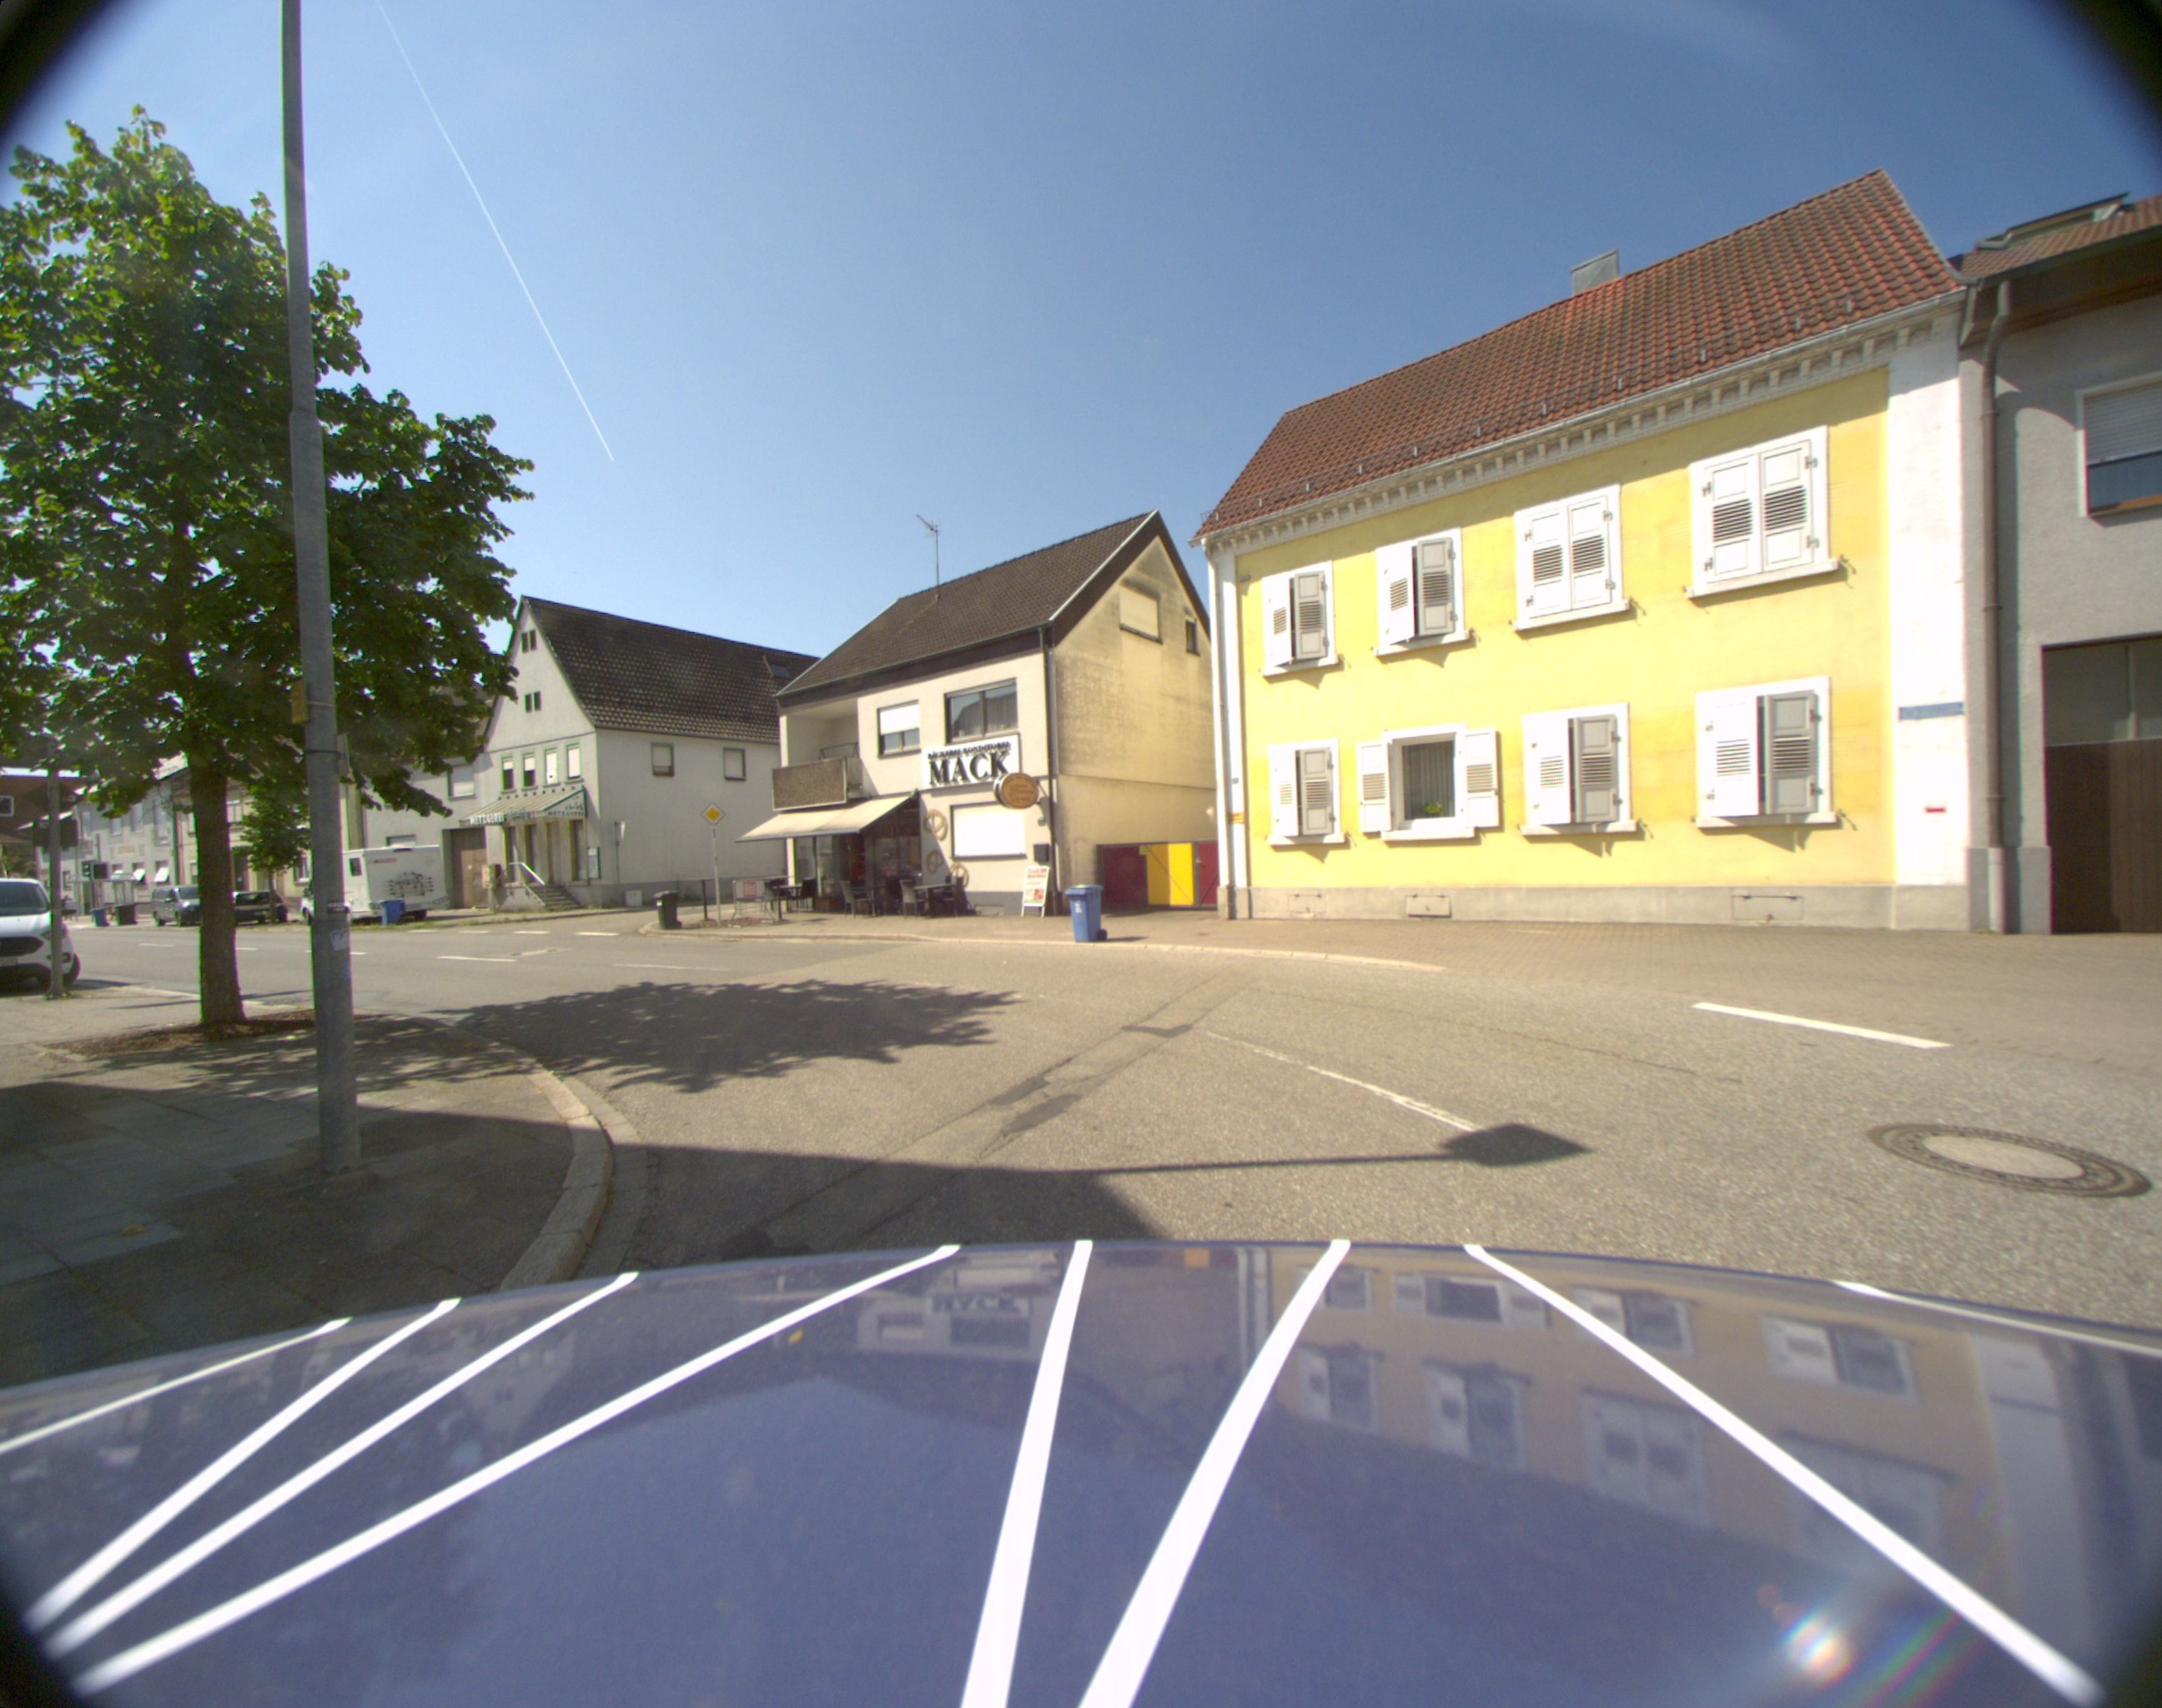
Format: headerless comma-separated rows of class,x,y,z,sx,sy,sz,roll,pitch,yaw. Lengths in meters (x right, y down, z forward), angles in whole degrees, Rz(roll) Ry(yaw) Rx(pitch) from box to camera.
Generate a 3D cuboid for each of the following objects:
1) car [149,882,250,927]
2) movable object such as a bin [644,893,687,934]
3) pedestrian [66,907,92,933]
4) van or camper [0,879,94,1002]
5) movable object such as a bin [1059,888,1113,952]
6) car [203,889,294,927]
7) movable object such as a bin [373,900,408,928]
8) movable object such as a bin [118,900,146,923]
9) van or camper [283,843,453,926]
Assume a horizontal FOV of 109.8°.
car,-41.011,2.327,35.321,4.943,1.837,2.003,-2,1,29
movable object such as a bin,-10.124,1.445,18.526,0.612,0.919,0.646,-2,1,27
pedestrian,-61.034,4.003,46.279,0.579,1.523,0.754,-2,2,26
van or camper,-19.882,1.503,13.343,5.333,1.942,2.003,-2,1,26
movable object such as a bin,0.084,1.086,12.636,0.612,0.975,0.646,-2,1,29
car,-36.132,2.326,32.970,3.609,1.474,1.693,-2,1,27
movable object such as a bin,-23.077,1.995,25.392,0.612,0.867,0.646,-2,2,26
movable object such as a bin,-48.252,2.926,38.644,0.549,1.061,0.720,-2,2,25
van or camper,-27.660,1.177,29.419,7.049,2.888,2.457,-2,1,27
